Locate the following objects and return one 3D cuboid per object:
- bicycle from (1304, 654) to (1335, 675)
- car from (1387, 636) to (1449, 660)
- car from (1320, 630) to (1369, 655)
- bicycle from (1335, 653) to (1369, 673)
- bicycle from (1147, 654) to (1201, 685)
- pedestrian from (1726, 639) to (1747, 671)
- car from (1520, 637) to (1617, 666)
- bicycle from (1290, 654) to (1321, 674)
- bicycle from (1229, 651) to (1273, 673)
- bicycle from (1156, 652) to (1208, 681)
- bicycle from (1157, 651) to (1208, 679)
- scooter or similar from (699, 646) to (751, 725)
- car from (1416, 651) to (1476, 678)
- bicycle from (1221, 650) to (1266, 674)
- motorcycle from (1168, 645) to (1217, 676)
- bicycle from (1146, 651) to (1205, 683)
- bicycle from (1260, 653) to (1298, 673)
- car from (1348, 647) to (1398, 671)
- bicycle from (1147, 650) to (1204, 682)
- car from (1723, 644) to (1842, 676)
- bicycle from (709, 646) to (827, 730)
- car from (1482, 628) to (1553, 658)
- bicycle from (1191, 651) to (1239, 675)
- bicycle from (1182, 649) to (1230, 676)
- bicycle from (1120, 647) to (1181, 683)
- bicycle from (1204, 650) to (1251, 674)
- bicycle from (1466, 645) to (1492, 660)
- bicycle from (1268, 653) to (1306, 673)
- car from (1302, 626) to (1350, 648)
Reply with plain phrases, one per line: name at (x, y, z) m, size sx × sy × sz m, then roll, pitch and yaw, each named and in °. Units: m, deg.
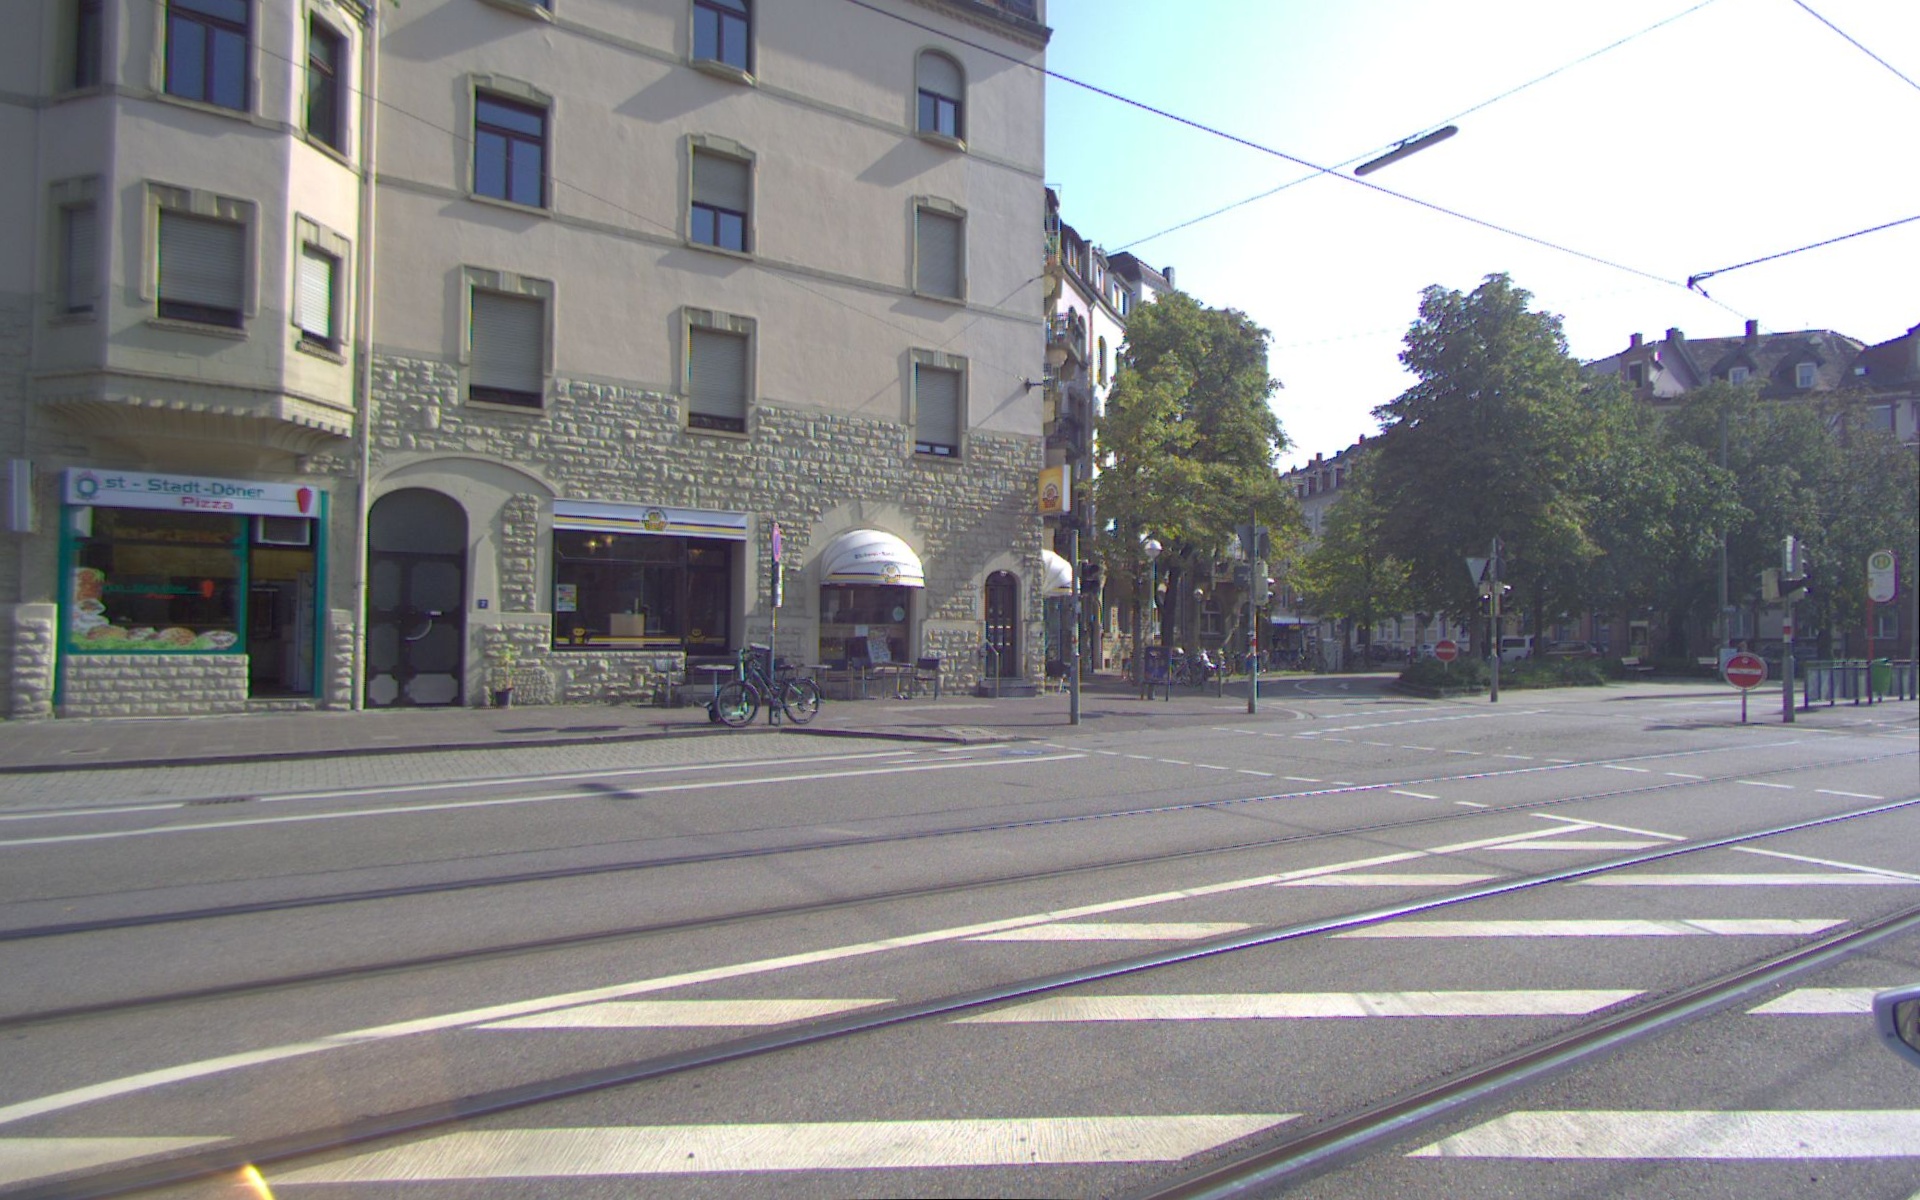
bicycle at (17.728, 3.163, 49.539) m, size 1.750 × 0.990 × 0.422 m, roll 2°, pitch -2°, yaw -32°
car at (31.717, 3.320, 69.663) m, size 1.963 × 1.589 × 4.332 m, roll 1°, pitch -2°, yaw -7°
car at (30.214, 3.328, 79.001) m, size 1.963 × 1.852 × 3.996 m, roll 1°, pitch -2°, yaw -8°
bicycle at (20.207, 3.263, 51.810) m, size 0.596 × 0.990 × 1.761 m, roll 1°, pitch -2°, yaw -23°
bicycle at (6.777, 2.201, 31.841) m, size 1.577 × 0.932 × 0.479 m, roll 1°, pitch -2°, yaw 0°
pedestrian at (44.054, 3.107, 56.987) m, size 0.756 × 1.753 × 0.752 m, roll 0°, pitch -2°, yaw 21°
car at (34.305, 2.891, 56.741) m, size 1.978 × 1.589 × 4.298 m, roll 2°, pitch -3°, yaw -32°
bicycle at (17.051, 3.151, 49.558) m, size 1.750 × 0.990 × 0.422 m, roll 2°, pitch -2°, yaw -32°
bicycle at (13.434, 2.834, 46.341) m, size 1.851 × 0.947 × 0.635 m, roll -1°, pitch -3°, yaw 42°
bicycle at (7.985, 2.375, 36.079) m, size 1.769 × 0.997 × 0.570 m, roll 0°, pitch -2°, yaw 19°
bicycle at (8.267, 2.399, 37.260) m, size 1.769 × 0.996 × 0.660 m, roll 0°, pitch -2°, yaw 19°
scooter or similar at (-3.726, 1.340, 15.981) m, size 0.359 × 1.213 × 1.035 m, roll 0°, pitch -2°, yaw 13°
car at (34.858, 4.593, 72.089) m, size 1.964 × 1.852 × 3.995 m, roll 1°, pitch -2°, yaw -9°
bicycle at (12.690, 2.761, 44.966) m, size 1.865 × 0.993 × 0.685 m, roll 0°, pitch -2°, yaw 26°
motorcycle at (9.447, 2.451, 40.800) m, size 1.840 × 1.169 × 0.607 m, roll 0°, pitch -2°, yaw 26°
bicycle at (7.119, 2.216, 33.282) m, size 1.840 × 1.017 × 0.570 m, roll 1°, pitch -2°, yaw 6°
bicycle at (15.904, 3.146, 50.147) m, size 1.742 × 0.990 × 0.518 m, roll -2°, pitch -3°, yaw 38°
car at (33.433, 4.798, 81.477) m, size 1.964 × 1.852 × 3.995 m, roll 1°, pitch -2°, yaw -9°
bicycle at (7.458, 2.269, 34.740) m, size 1.841 × 1.047 × 0.570 m, roll 0°, pitch -2°, yaw 21°
car at (42.112, 3.053, 51.520) m, size 4.250 × 1.589 × 2.001 m, roll 0°, pitch -2°, yaw 18°
bicycle at (-2.988, 1.344, 15.759) m, size 1.842 × 1.242 × 0.449 m, roll 2°, pitch -3°, yaw -41°
car at (35.838, 2.745, 64.703) m, size 1.964 × 1.852 × 3.995 m, roll 1°, pitch -2°, yaw -9°
bicycle at (10.831, 2.686, 42.707) m, size 1.876 × 0.947 × 0.737 m, roll 0°, pitch -2°, yaw 26°
bicycle at (10.181, 2.586, 41.608) m, size 1.843 × 1.041 × 0.663 m, roll 0°, pitch -2°, yaw 26°
bicycle at (6.153, 2.098, 32.503) m, size 1.844 × 1.127 × 0.569 m, roll 2°, pitch -2°, yaw -10°
bicycle at (11.715, 2.718, 43.960) m, size 1.865 × 0.993 × 0.685 m, roll 0°, pitch -2°, yaw 26°
bicycle at (33.908, 3.403, 65.661) m, size 0.538 × 0.970 × 1.855 m, roll 0°, pitch -2°, yaw -6°
bicycle at (16.494, 3.164, 50.663) m, size 1.742 × 0.990 × 0.603 m, roll -2°, pitch -3°, yaw 37°
car at (32.131, 3.254, 88.303) m, size 1.968 × 1.852 × 3.986 m, roll 1°, pitch -2°, yaw -17°
